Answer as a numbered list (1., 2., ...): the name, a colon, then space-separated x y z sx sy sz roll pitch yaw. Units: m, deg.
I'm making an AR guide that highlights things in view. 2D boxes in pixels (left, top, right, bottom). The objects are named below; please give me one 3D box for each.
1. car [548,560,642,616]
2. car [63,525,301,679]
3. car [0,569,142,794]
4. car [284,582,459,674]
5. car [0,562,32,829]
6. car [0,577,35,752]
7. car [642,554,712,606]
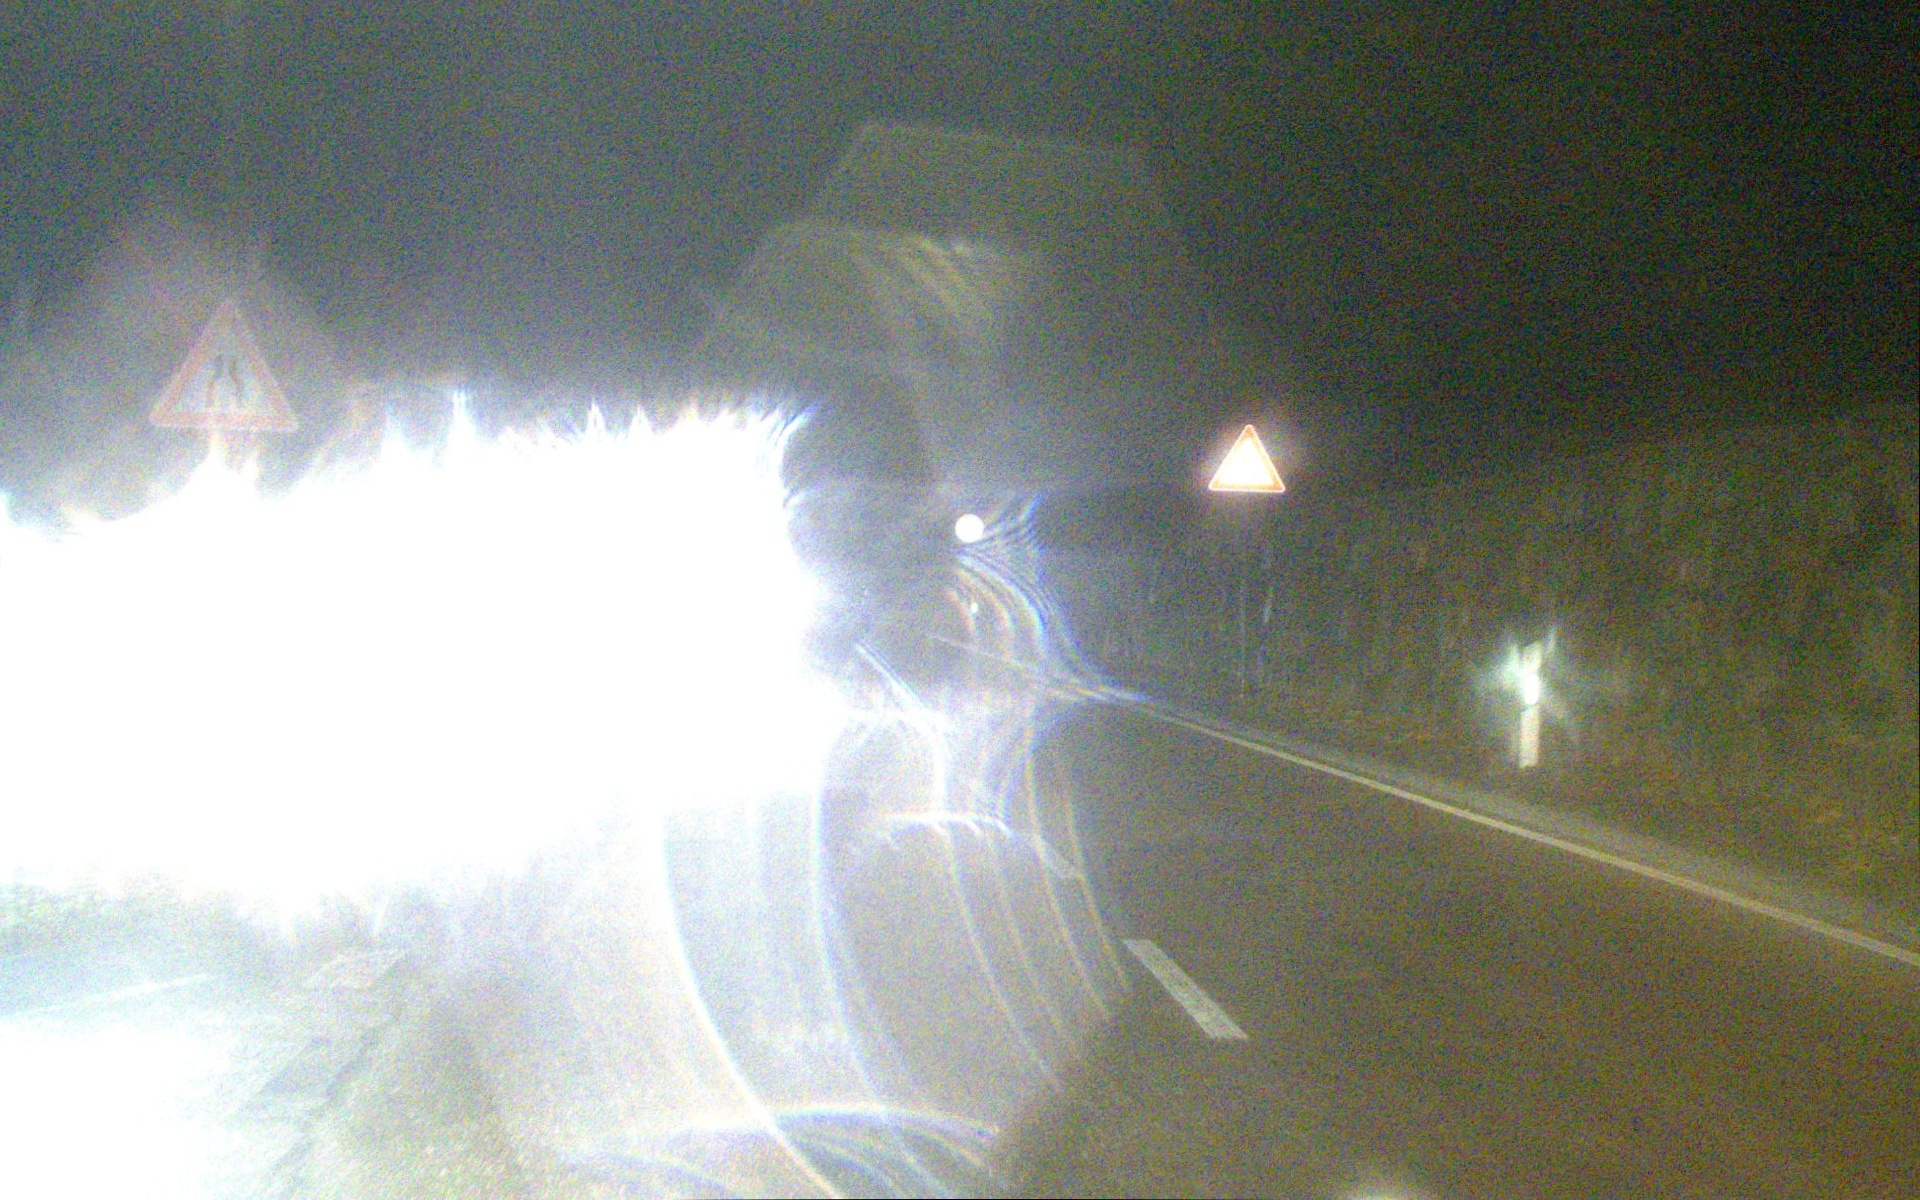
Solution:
1. car: -10.481 -0.369 98.969 2.083 1.537 4.898 0 1 1
2. car: -10.737 -0.005 47.808 2.154 2.007 4.995 1 1 0
3. car: -7.675 0.554 26.137 1.956 1.565 4.467 1 0 -2
4. car: -10.697 0.479 62.872 2.181 1.553 5.204 0 1 1
5. car: -7.009 0.589 20.012 1.993 1.692 5.013 1 0 -2
6. car: -10.568 0.647 33.167 1.993 1.740 4.498 1 1 1
7. car: -10.349 -0.759 125.911 1.993 1.858 5.319 0 1 1
